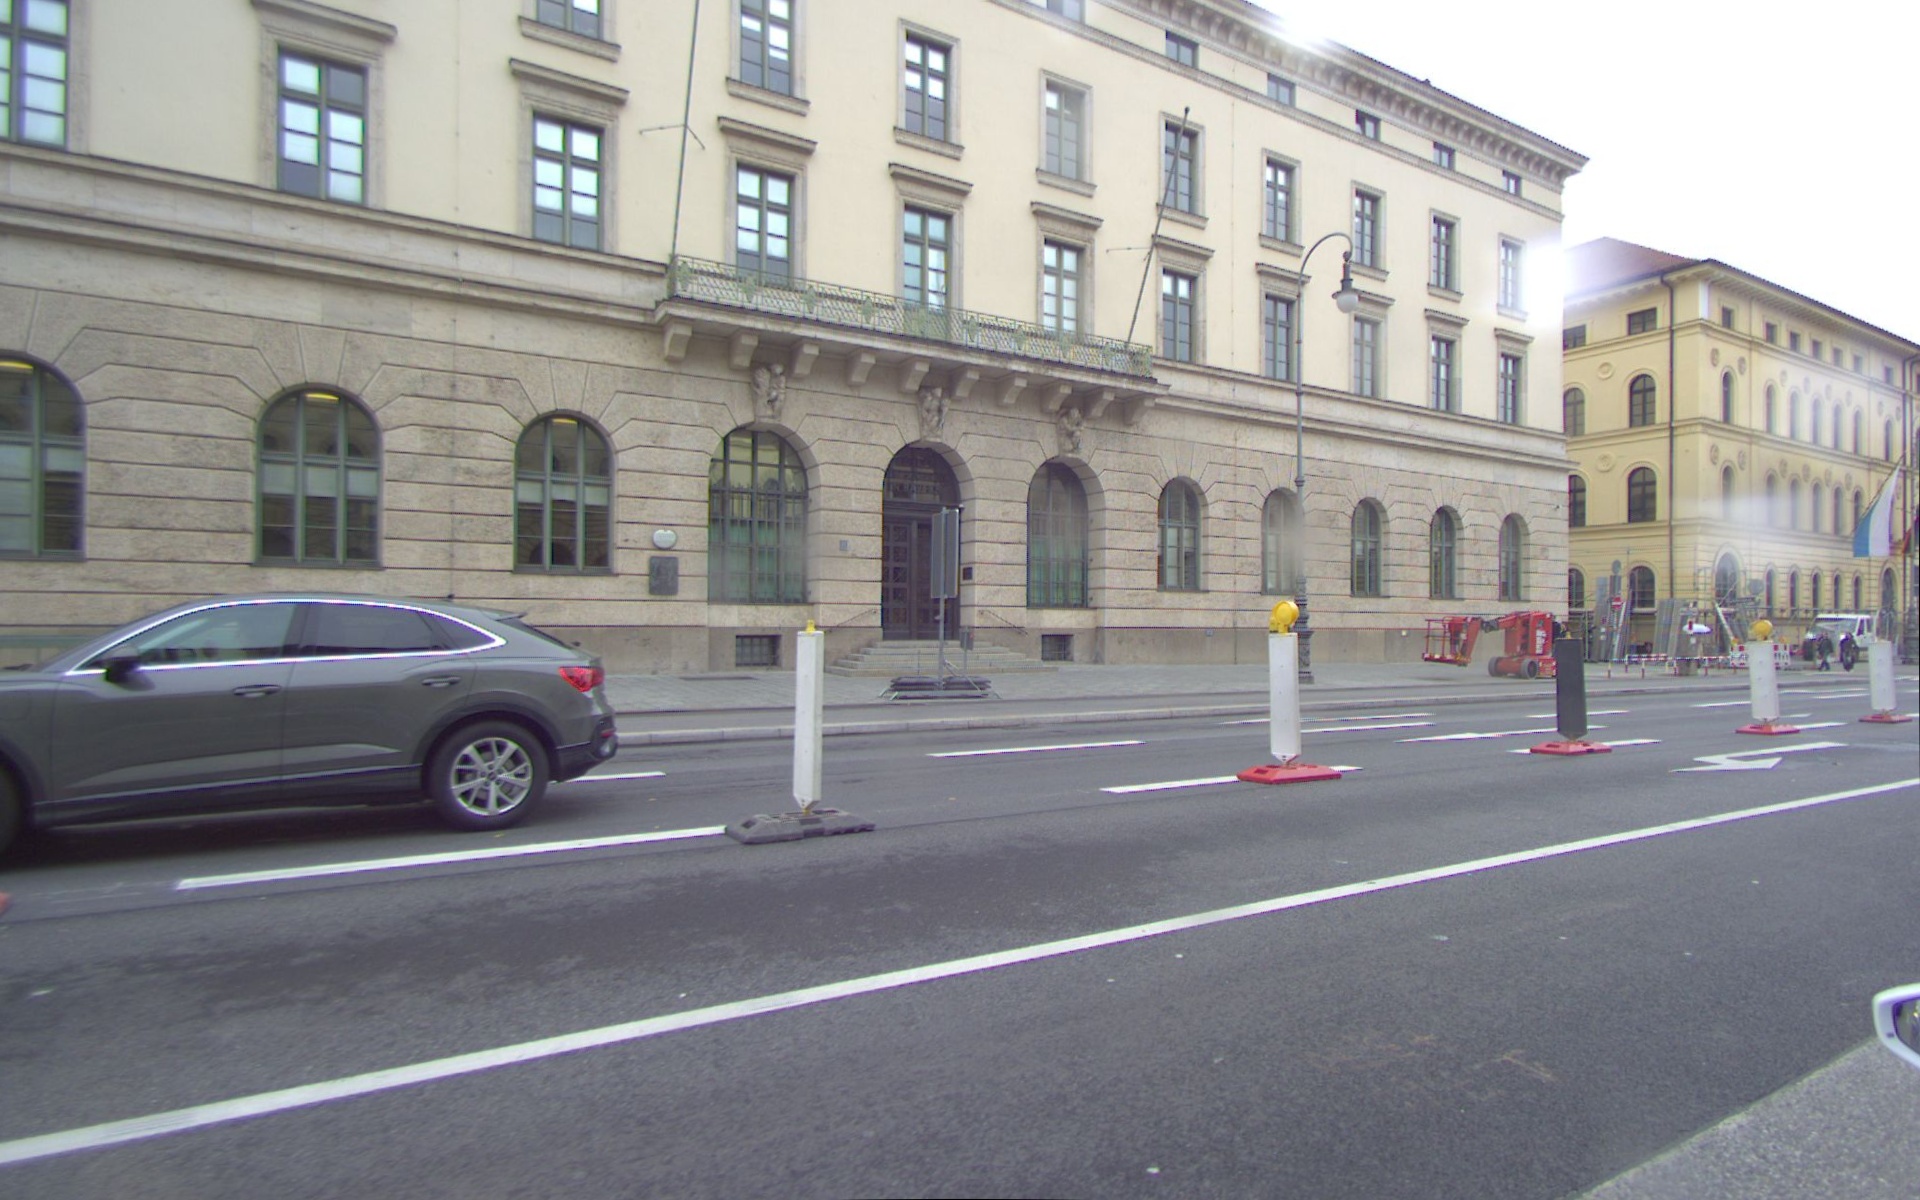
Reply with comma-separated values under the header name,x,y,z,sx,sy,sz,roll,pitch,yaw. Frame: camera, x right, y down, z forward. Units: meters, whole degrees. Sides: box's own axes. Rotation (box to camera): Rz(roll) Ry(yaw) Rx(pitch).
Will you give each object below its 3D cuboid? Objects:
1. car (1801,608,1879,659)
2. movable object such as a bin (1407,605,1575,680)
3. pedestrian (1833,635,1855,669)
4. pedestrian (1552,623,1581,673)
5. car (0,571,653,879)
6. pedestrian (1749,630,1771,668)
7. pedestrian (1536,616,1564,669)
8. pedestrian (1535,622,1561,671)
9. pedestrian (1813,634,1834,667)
name,x,y,z,sx,sy,sz,roll,pitch,yaw
car,43.085,1.648,49.178,3.954,2.318,1.730,3,-2,-30
movable object such as a bin,15.713,1.277,29.595,5.906,2.040,1.504,3,-2,-30
pedestrian,37.696,2.204,42.833,0.611,1.429,0.536,3,-2,-34
pedestrian,20.731,1.645,34.334,0.611,1.674,0.608,3,-2,-34
car,-4.506,0.707,6.522,4.524,1.587,1.777,1,-3,-31
pedestrian,33.282,2.038,41.764,0.611,1.550,0.549,3,-2,-34
pedestrian,21.896,1.572,37.299,0.645,1.956,0.675,3,-2,-34
pedestrian,20.396,1.609,34.827,0.611,1.698,0.549,3,-2,-34
pedestrian,37.322,2.190,43.426,0.611,1.425,0.536,3,-2,-34
